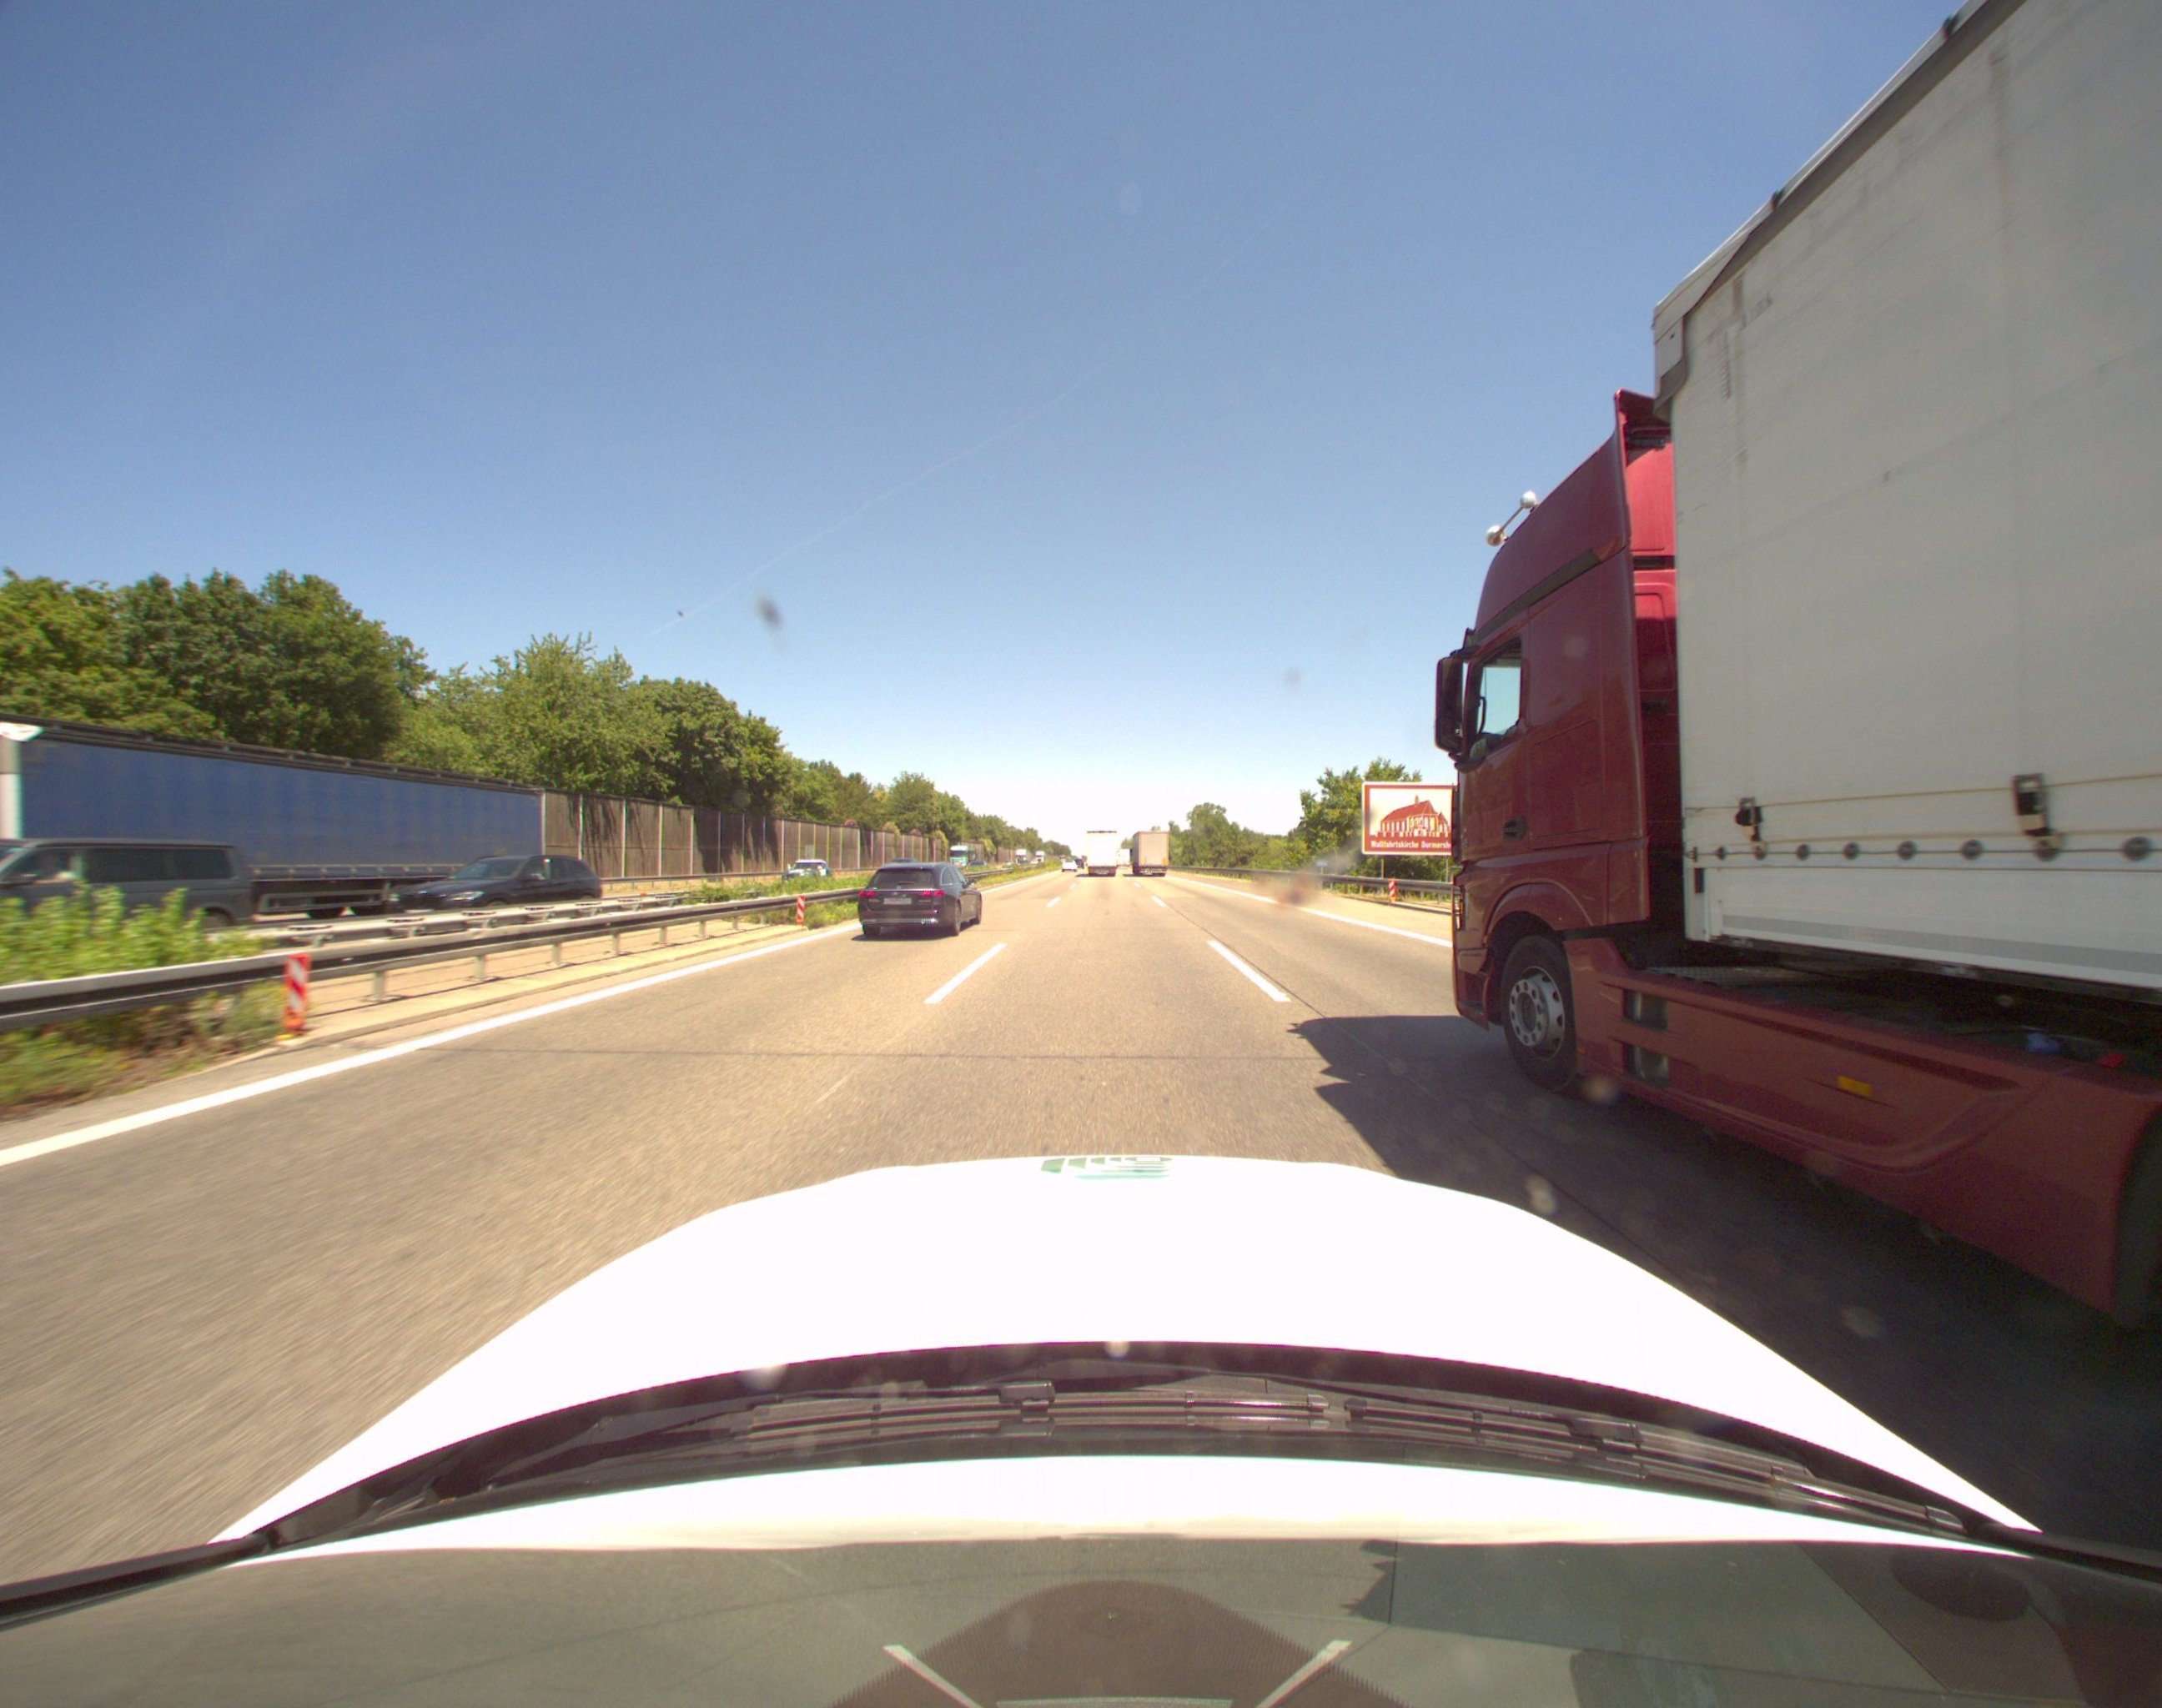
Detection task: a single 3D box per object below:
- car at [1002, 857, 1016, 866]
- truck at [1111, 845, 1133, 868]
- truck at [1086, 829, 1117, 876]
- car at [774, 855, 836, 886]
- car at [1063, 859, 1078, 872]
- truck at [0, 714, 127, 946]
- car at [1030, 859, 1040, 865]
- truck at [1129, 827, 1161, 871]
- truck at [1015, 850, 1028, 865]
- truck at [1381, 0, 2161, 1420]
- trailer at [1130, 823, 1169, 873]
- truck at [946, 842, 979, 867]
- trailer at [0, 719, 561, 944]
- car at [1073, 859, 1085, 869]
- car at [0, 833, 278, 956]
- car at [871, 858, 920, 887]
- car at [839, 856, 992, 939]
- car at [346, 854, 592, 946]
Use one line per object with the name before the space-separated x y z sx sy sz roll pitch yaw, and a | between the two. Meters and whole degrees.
car | -12.936 1.350 146.072 1.857 1.441 5.089 -1 0 3
truck | 8.228 0.424 164.288 3.365 4.303 11.441 2 0 -2
truck | 1.837 -0.099 76.952 2.697 4.086 13.474 0 0 1
car | -15.996 0.946 47.463 1.986 1.720 4.534 -1 0 1
car | -1.339 1.395 101.175 1.850 1.486 3.998 -1 0 -1
truck | -20.286 -0.400 13.859 2.477 4.087 4.679 -1 0 2
car | -11.749 2.058 207.838 1.986 1.590 4.494 0 0 1
truck | 6.402 -0.458 82.789 2.682 4.215 7.838 0 0 1
truck | -15.790 0.901 216.290 2.748 4.022 6.734 0 0 1
truck | 4.032 -0.682 4.096 2.696 4.088 6.968 0 0 2
trailer | 6.310 -0.484 76.555 2.694 4.216 13.212 0 0 1
truck | -18.298 0.111 126.721 3.079 3.675 12.369 -1 0 1
trailer | -20.041 -0.366 21.963 2.486 4.087 14.275 -1 0 2
car | -0.321 1.679 134.040 1.849 1.617 3.999 -1 0 -1
car | -16.848 0.608 13.399 1.986 1.816 5.221 -1 0 1
car | -11.832 1.149 52.185 1.986 1.720 4.534 -1 0 1
car | -3.366 0.809 17.909 1.936 1.506 5.824 -1 0 2
car | -12.833 0.874 17.495 1.986 1.720 4.246 -1 0 1
